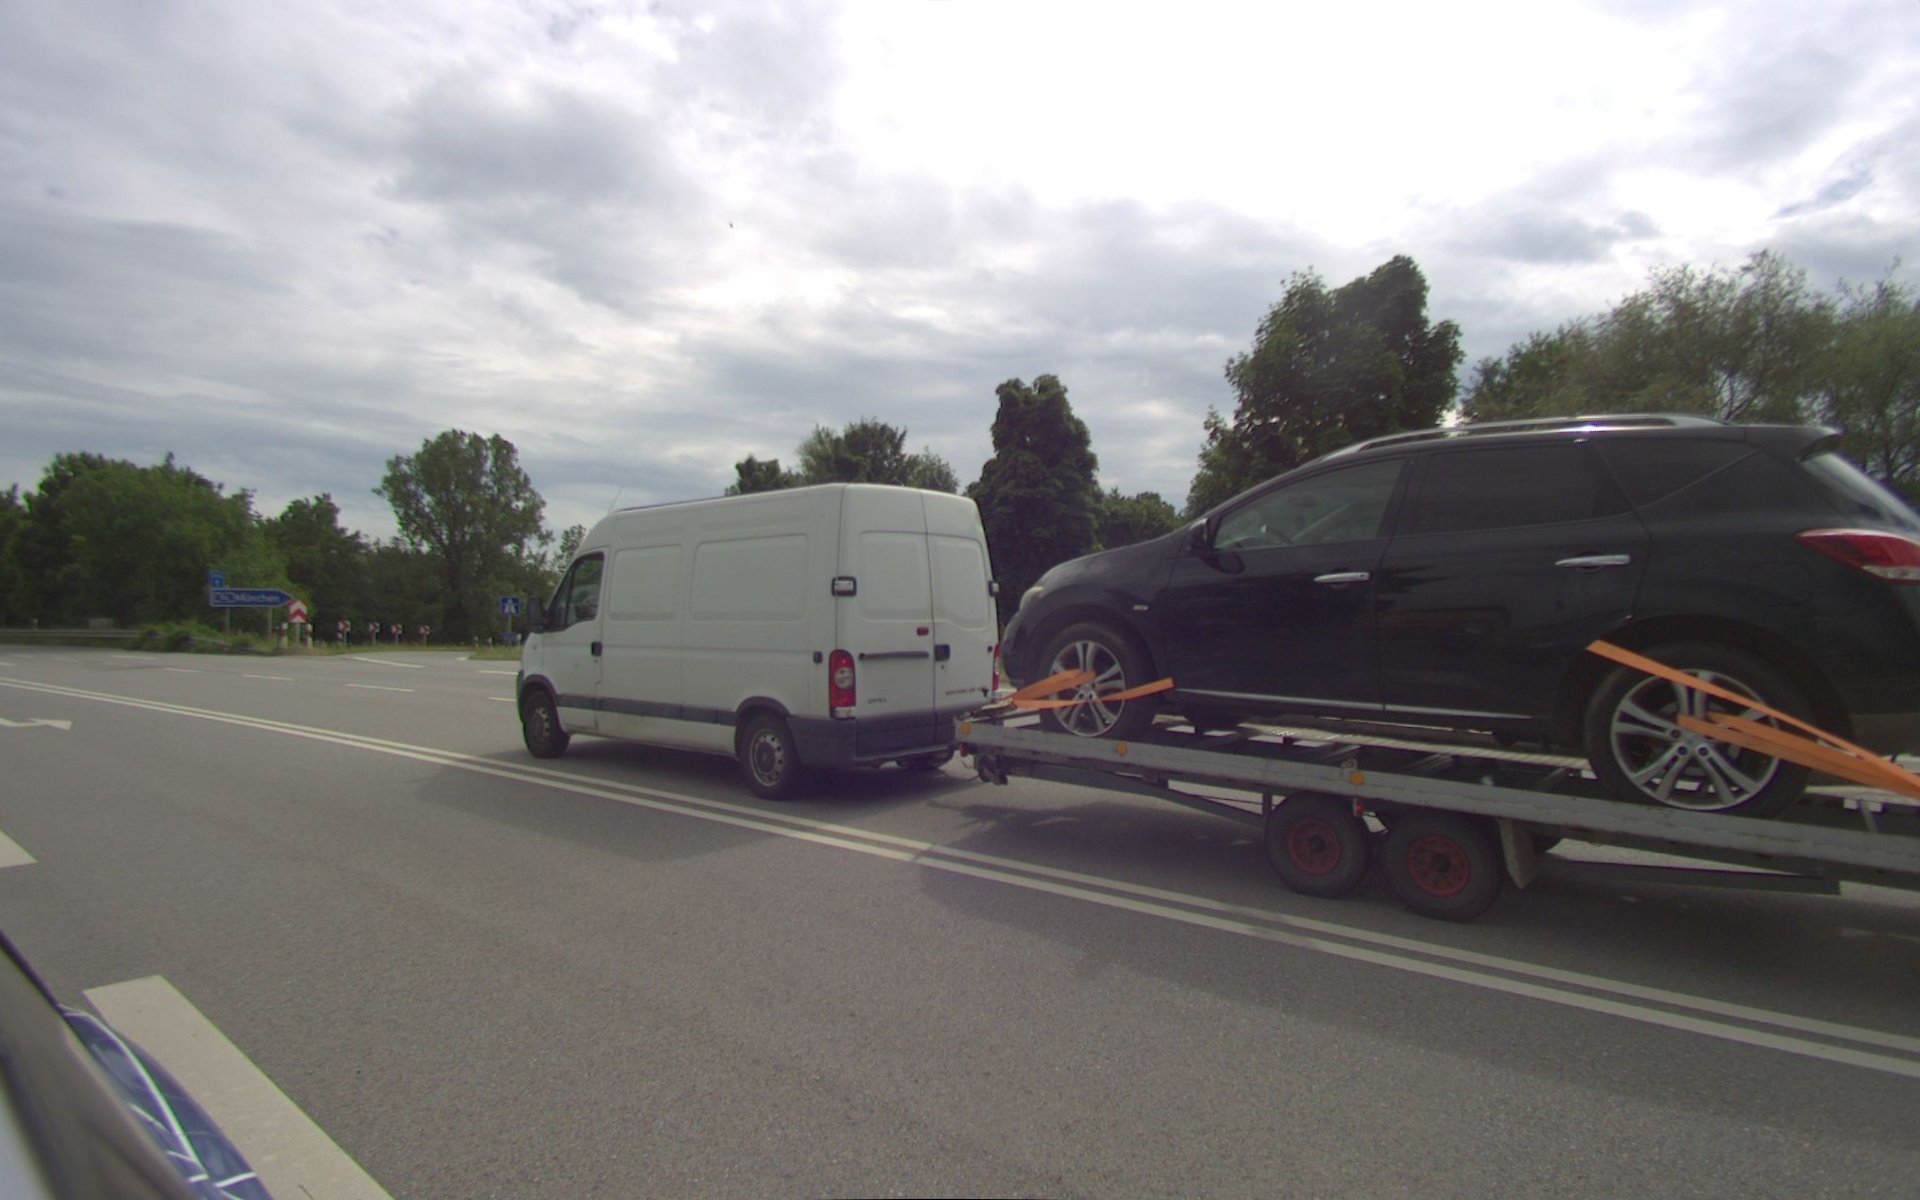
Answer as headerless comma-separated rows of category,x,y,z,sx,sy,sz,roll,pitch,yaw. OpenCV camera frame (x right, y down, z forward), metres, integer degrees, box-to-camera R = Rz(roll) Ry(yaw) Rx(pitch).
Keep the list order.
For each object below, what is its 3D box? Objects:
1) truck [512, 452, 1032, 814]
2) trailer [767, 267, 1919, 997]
truck,-1.964,0.259,9.310,5.022,2.463,2.002,-2,0,41
trailer,1.853,0.153,5.965,6.962,2.463,2.002,-2,0,41
